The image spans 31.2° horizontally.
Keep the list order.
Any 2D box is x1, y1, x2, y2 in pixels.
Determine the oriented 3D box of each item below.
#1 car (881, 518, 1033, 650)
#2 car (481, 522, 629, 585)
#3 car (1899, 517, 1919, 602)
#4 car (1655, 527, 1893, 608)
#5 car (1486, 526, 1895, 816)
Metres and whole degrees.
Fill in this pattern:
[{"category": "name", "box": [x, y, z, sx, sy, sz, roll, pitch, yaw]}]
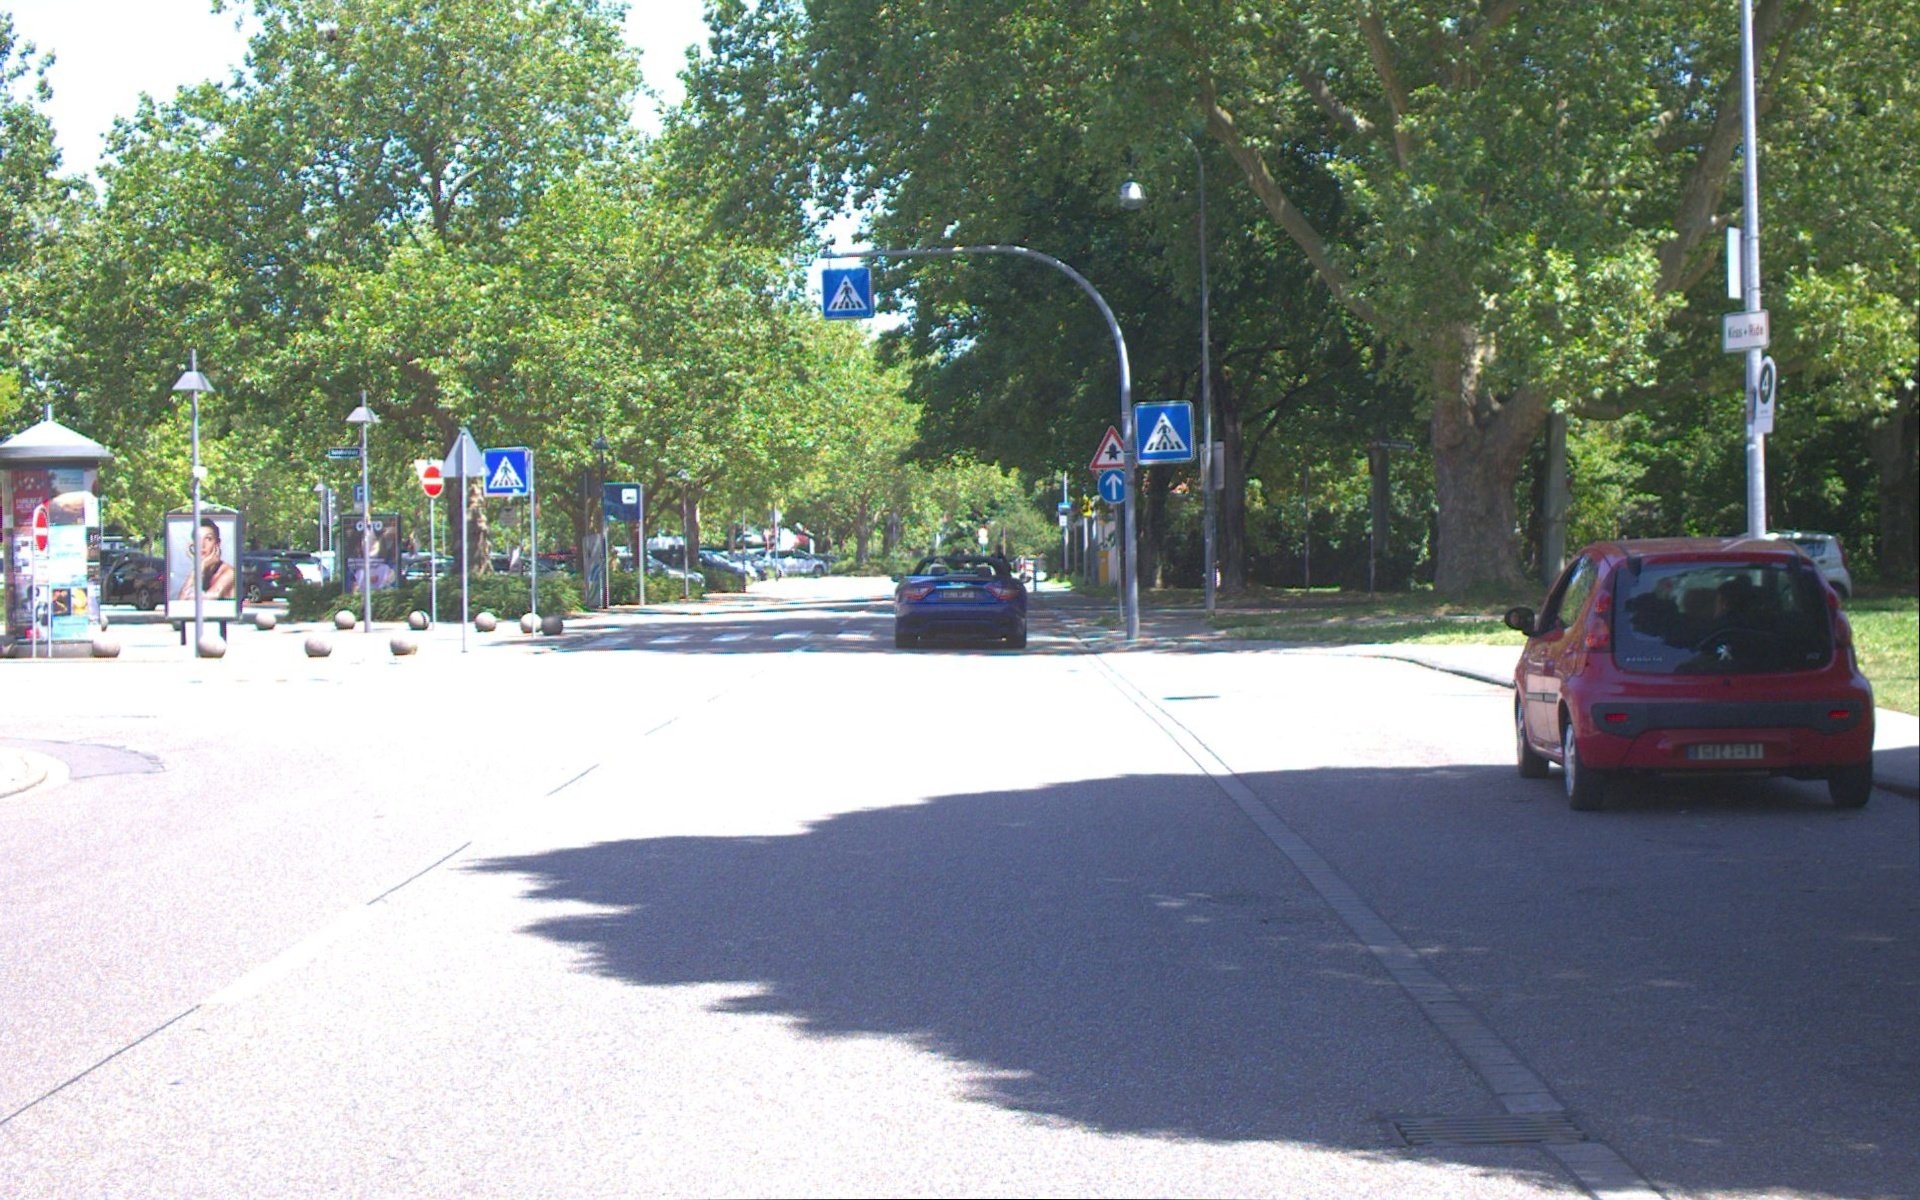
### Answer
[{"category": "car", "box": [-0.026, -0.248, 50.158, 2.125, 1.842, 4.048, 0, 1, 0]}, {"category": "car", "box": [-11.908, -1.375, 100.944, 3.986, 1.775, 2.001, -1, 1, -18]}, {"category": "car", "box": [20.530, -0.821, 65.402, 4.824, 1.602, 2.000, -1, 1, 4]}, {"category": "car", "box": [15.530, -0.634, 65.759, 4.105, 1.461, 2.000, -1, 1, 3]}, {"category": "car", "box": [4.072, 0.341, 19.693, 1.719, 1.473, 3.706, -1, 1, 3]}]
